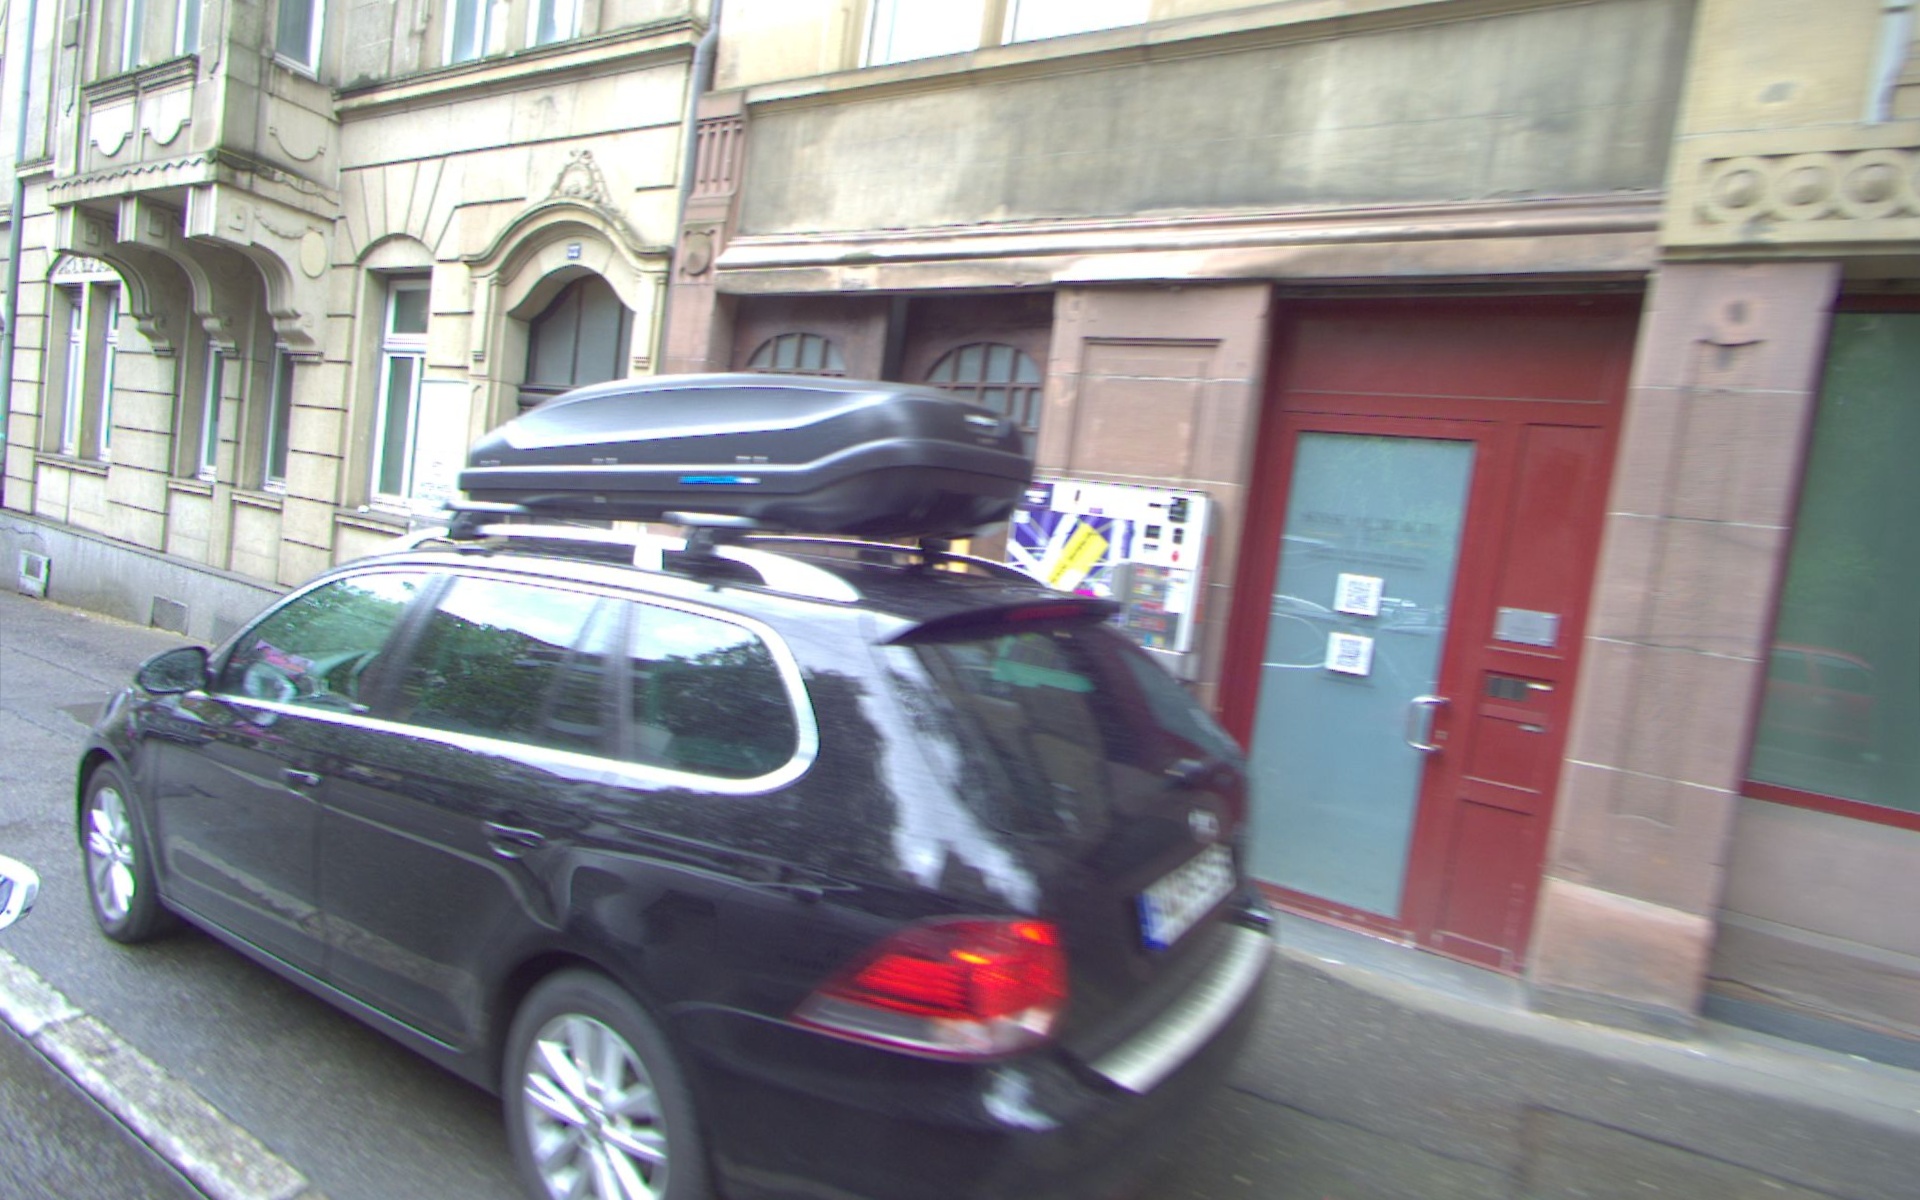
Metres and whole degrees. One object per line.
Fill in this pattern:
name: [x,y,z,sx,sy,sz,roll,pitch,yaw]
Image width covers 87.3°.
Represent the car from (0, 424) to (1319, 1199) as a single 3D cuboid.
car: [-1.233,0.415,3.152,4.031,1.675,1.757,7,5,32]
